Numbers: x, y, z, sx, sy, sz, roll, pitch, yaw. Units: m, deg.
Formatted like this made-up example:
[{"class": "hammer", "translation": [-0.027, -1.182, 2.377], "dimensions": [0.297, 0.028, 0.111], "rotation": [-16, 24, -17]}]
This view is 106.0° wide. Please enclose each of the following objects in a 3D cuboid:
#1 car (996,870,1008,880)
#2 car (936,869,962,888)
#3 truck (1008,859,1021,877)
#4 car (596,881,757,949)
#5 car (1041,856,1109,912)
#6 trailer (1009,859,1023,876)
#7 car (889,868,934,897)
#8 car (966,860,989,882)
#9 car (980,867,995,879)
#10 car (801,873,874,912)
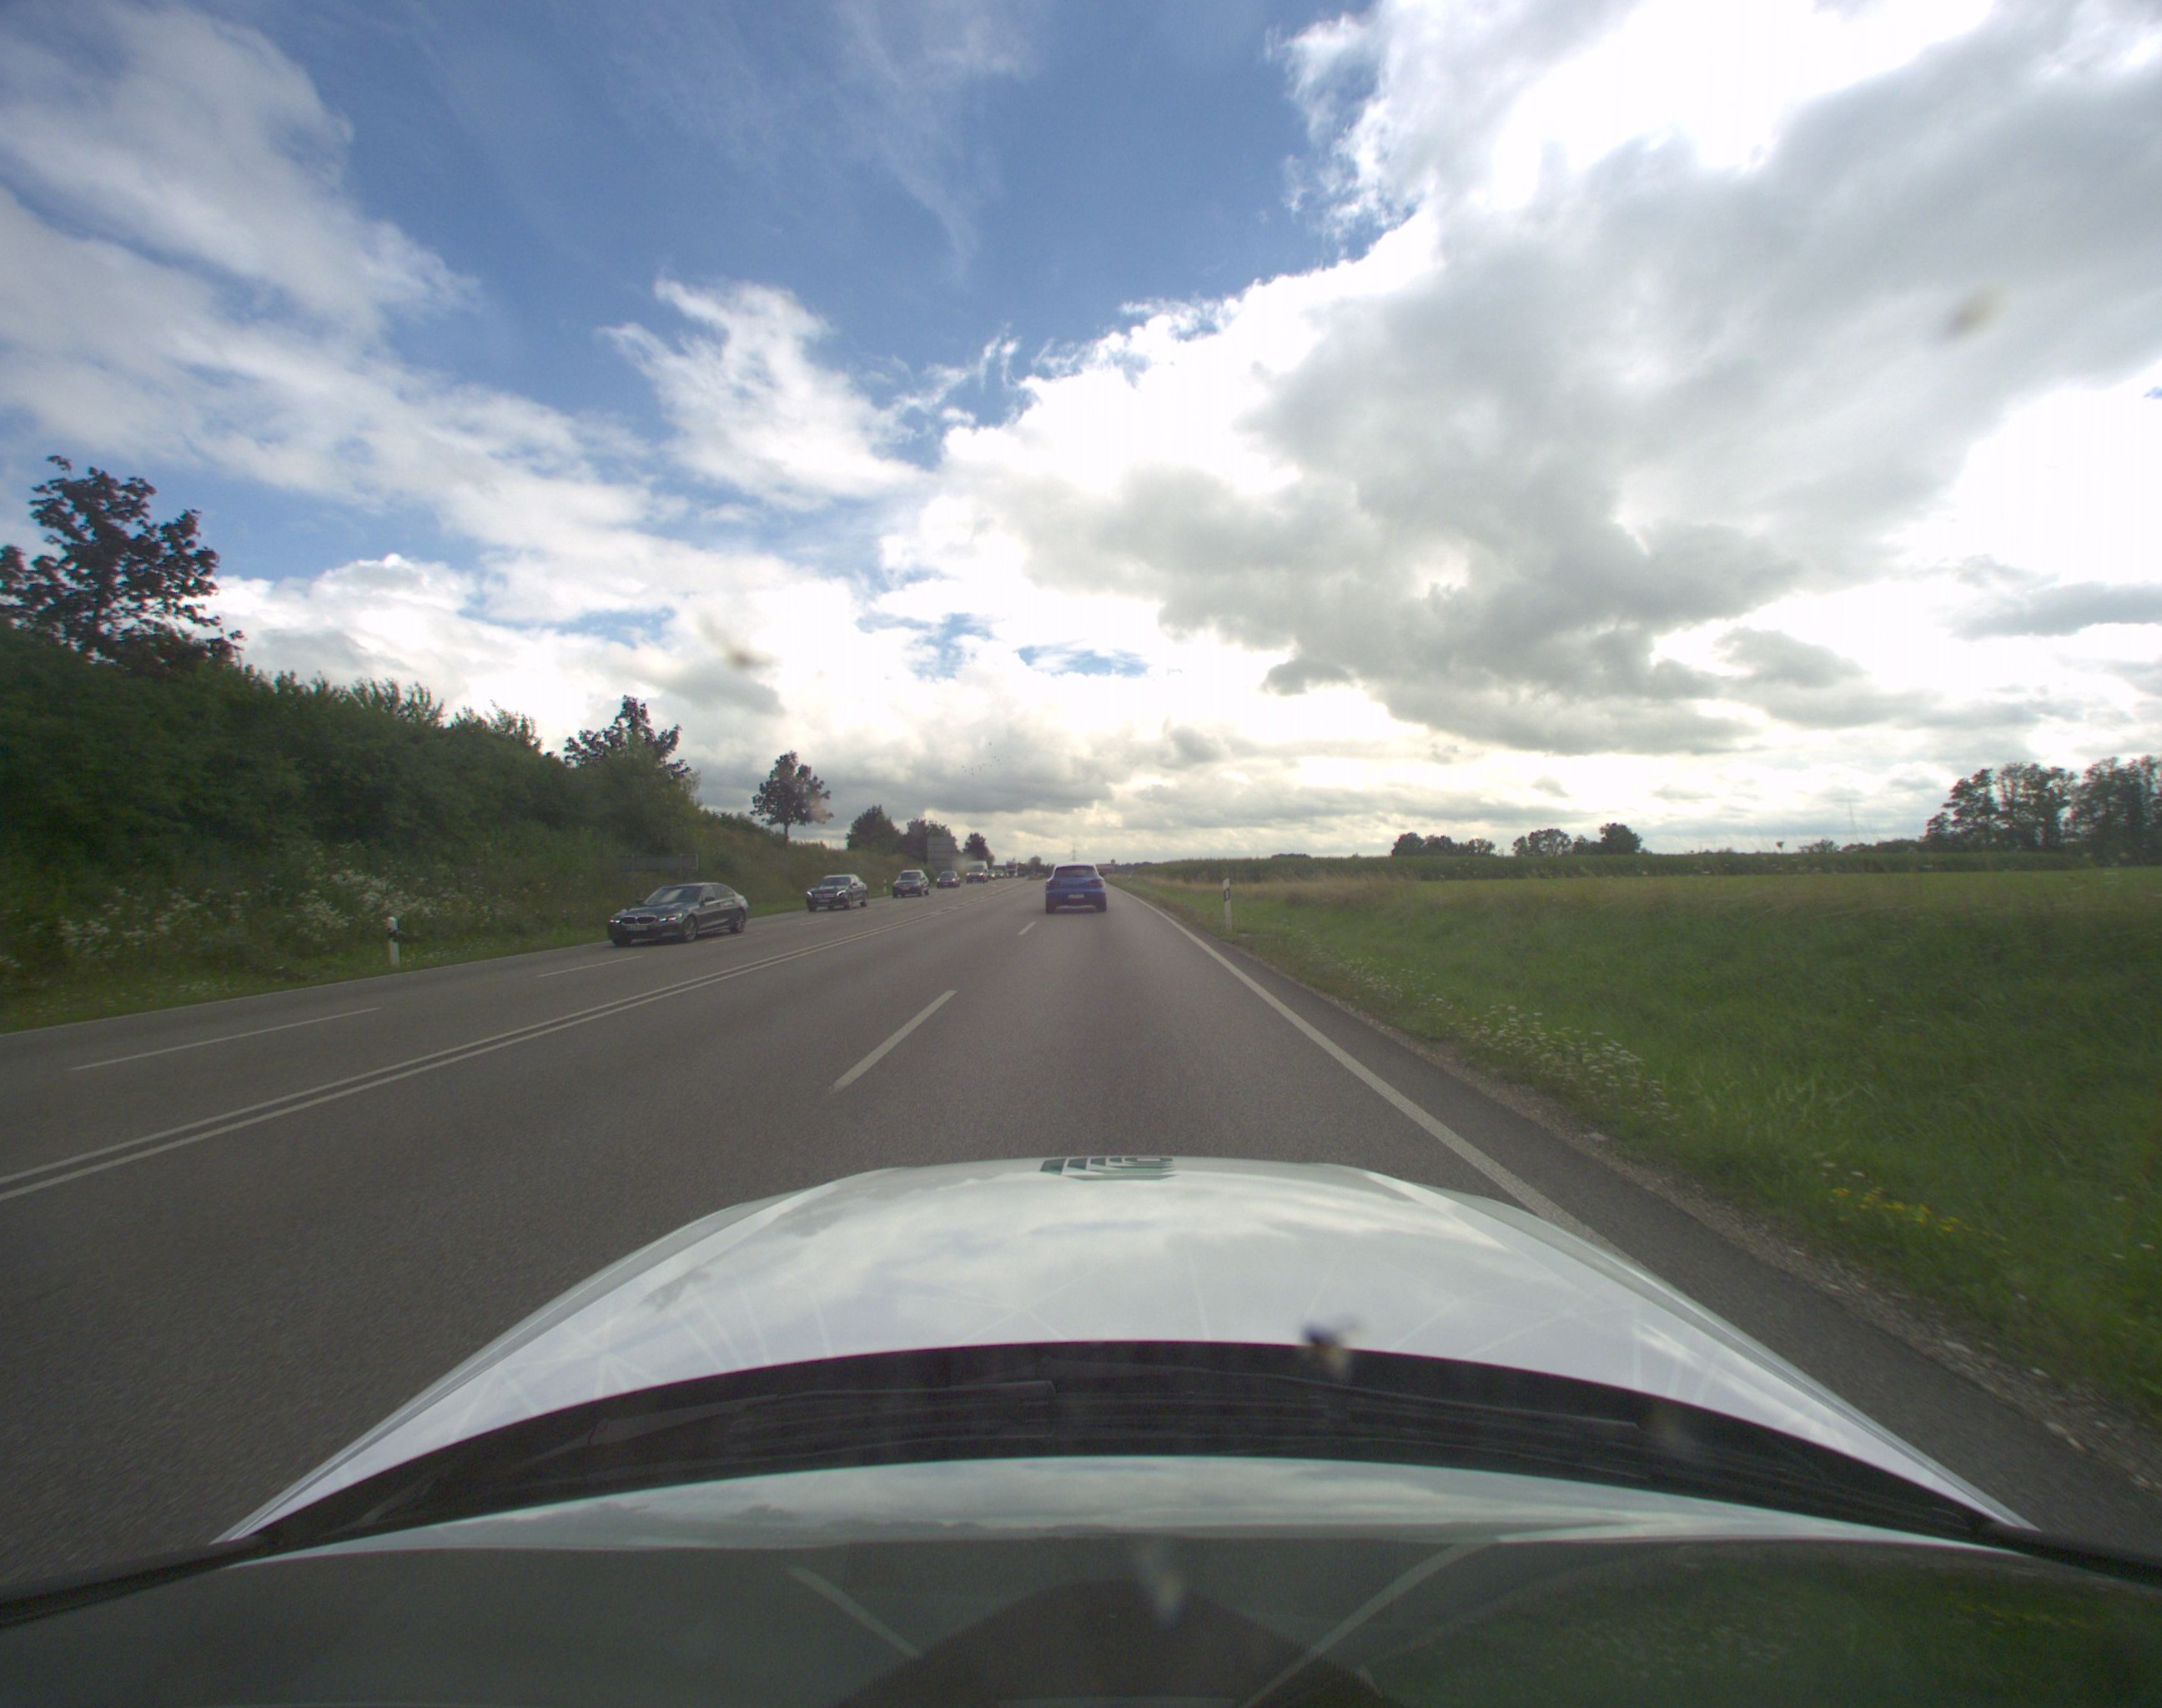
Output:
[{"class": "car", "translation": [-12.728, 3.385, 131.234], "dimensions": [1.728, 1.530, 4.190], "rotation": [-2, 0, -2]}, {"class": "car", "translation": [-11.772, 2.170, 72.792], "dimensions": [1.728, 1.530, 4.190], "rotation": [-2, 0, -2]}, {"class": "truck", "translation": [-15.288, 3.143, 186.893], "dimensions": [2.795, 3.997, 5.282], "rotation": [0, -1, -2]}, {"class": "car", "translation": [-10.279, 1.494, 21.162], "dimensions": [1.788, 1.405, 4.705], "rotation": [-1, -1, 0]}, {"class": "car", "translation": [-0.263, 0.960, 26.989], "dimensions": [2.028, 1.660, 4.539], "rotation": [-1, -1, -2]}, {"class": "trailer", "translation": [-15.512, 3.240, 194.270], "dimensions": [2.768, 3.947, 12.973], "rotation": [0, -1, -2]}, {"class": "car", "translation": [-10.775, 1.805, 52.061], "dimensions": [1.788, 1.634, 4.515], "rotation": [-3, -1, 0]}, {"class": "car", "translation": [-11.838, 1.911, 93.299], "dimensions": [2.028, 2.440, 5.631], "rotation": [-2, 0, -2]}, {"class": "car", "translation": [-13.059, 2.678, 113.629], "dimensions": [1.728, 1.530, 4.545], "rotation": [-2, 0, -2]}, {"class": "car", "translation": [-10.782, 1.675, 36.451], "dimensions": [1.788, 1.511, 4.705], "rotation": [-1, -1, 0]}]
